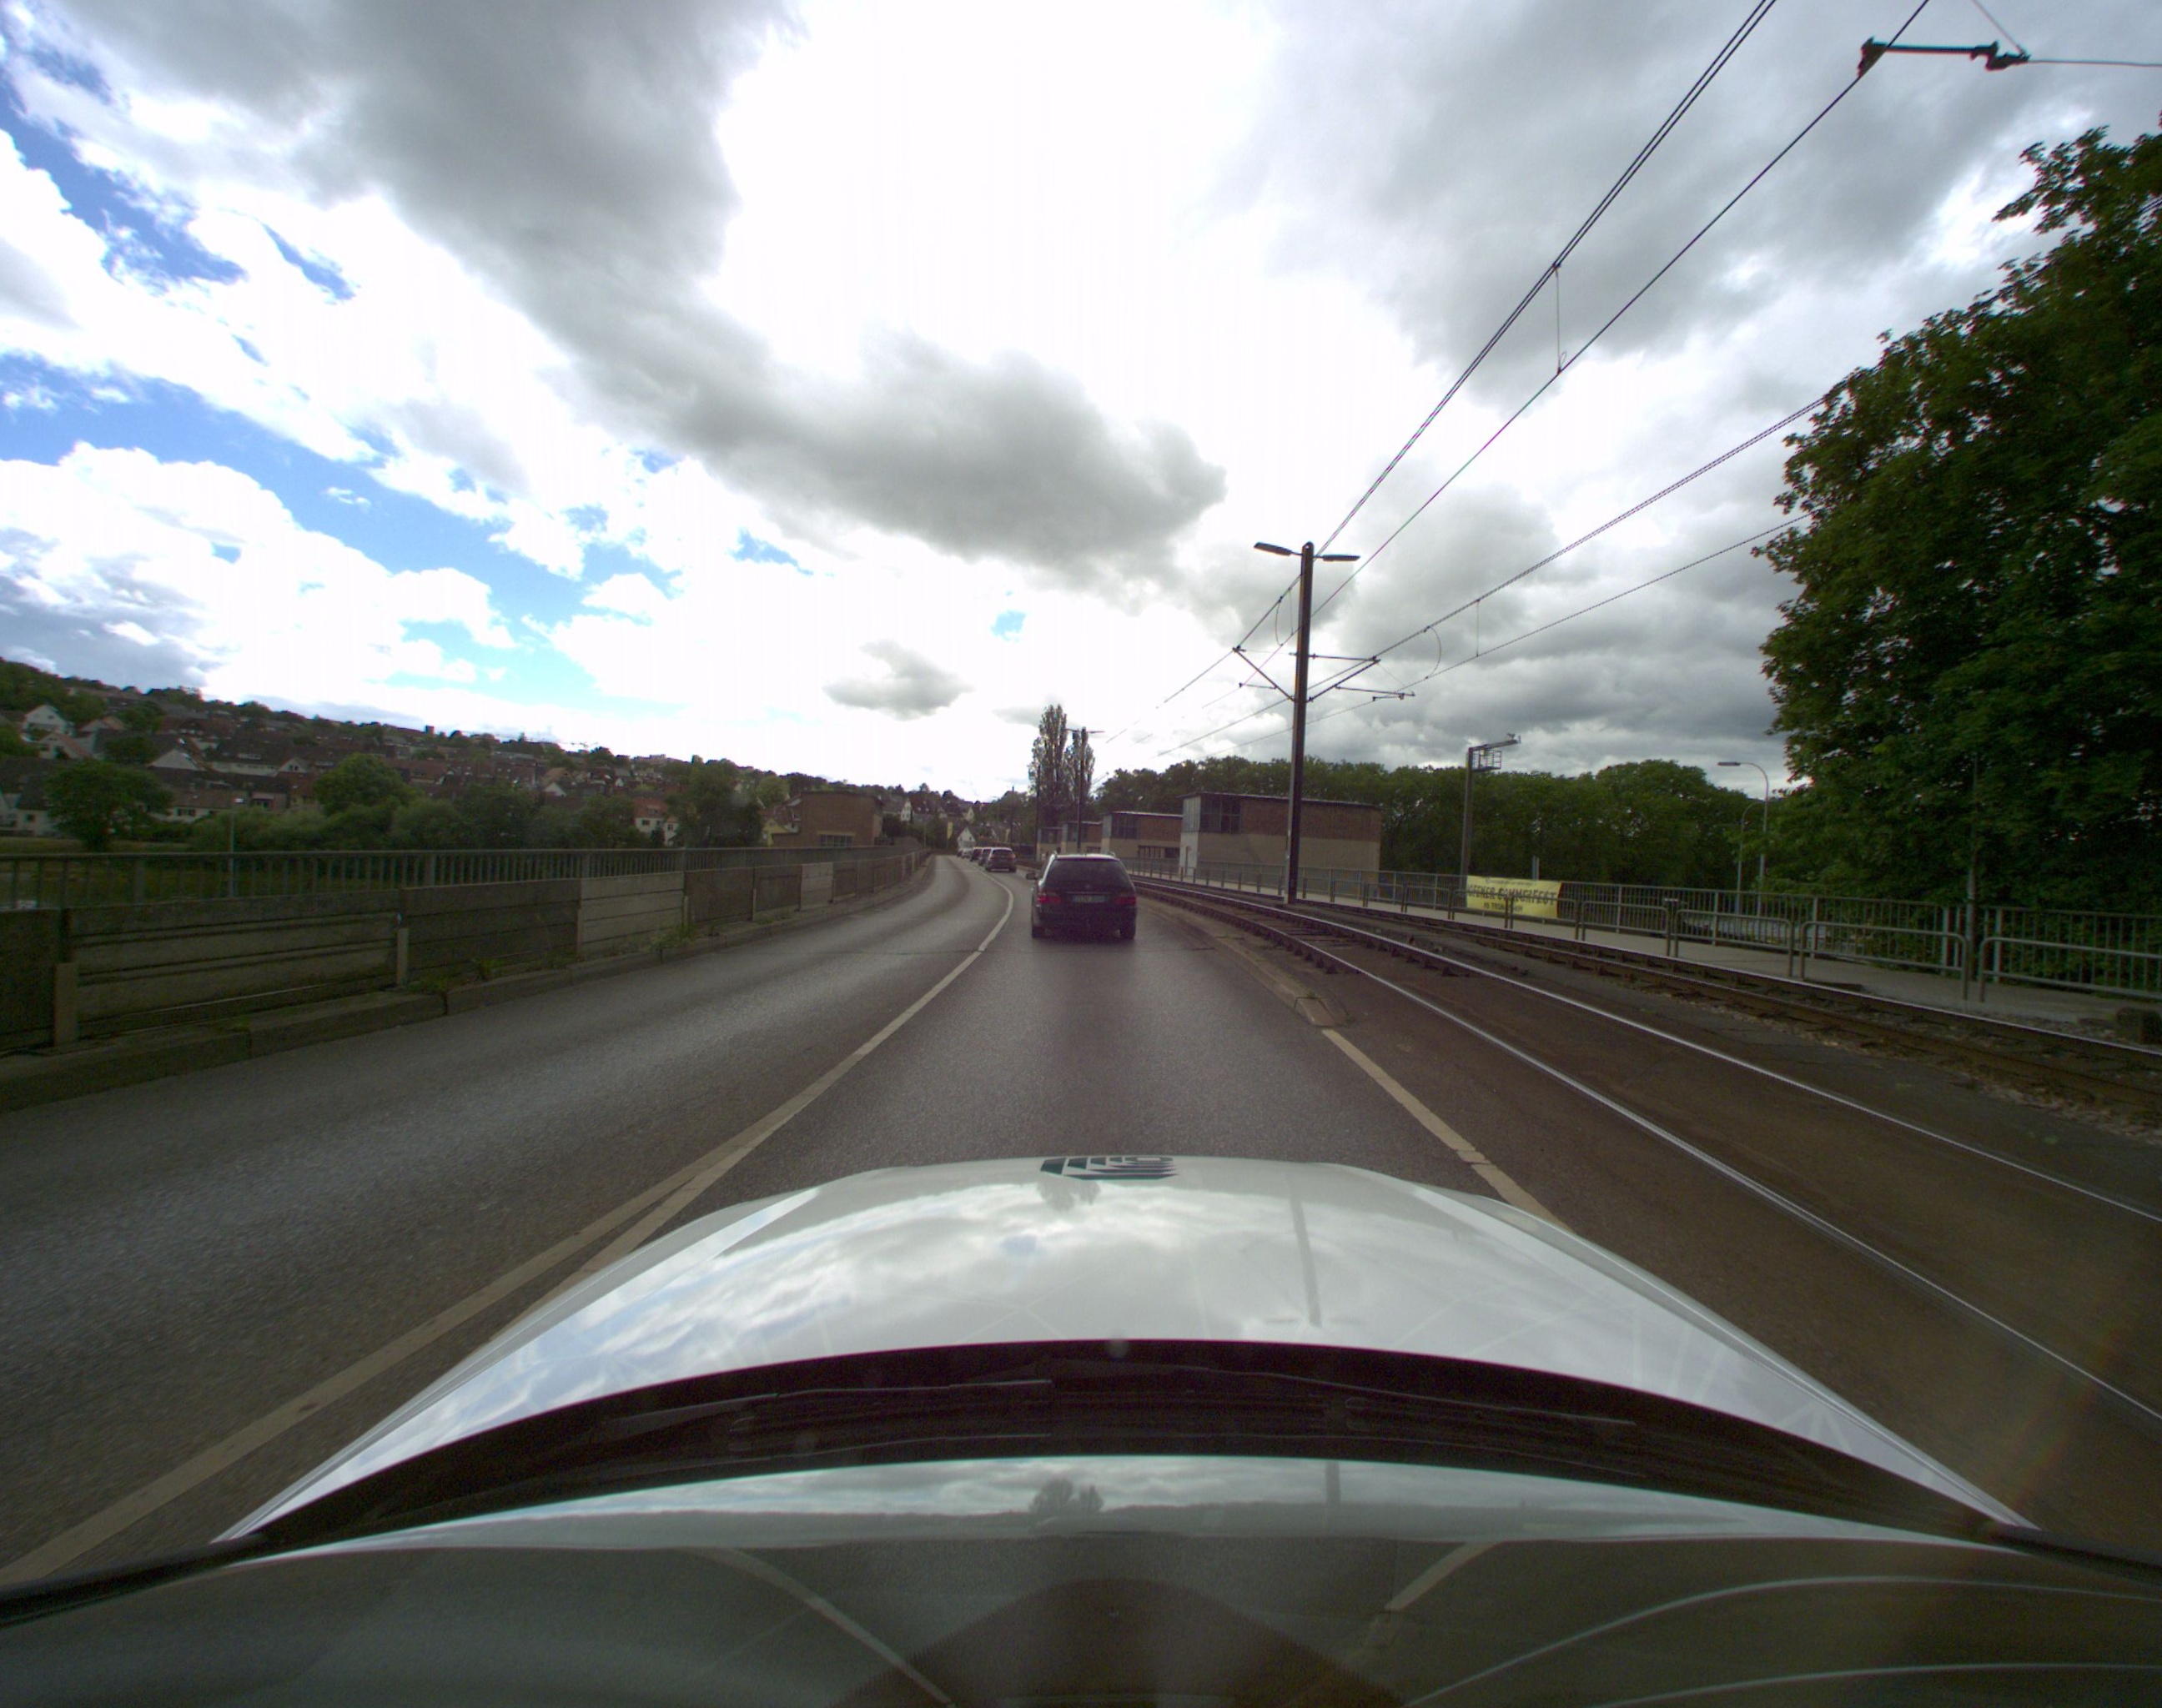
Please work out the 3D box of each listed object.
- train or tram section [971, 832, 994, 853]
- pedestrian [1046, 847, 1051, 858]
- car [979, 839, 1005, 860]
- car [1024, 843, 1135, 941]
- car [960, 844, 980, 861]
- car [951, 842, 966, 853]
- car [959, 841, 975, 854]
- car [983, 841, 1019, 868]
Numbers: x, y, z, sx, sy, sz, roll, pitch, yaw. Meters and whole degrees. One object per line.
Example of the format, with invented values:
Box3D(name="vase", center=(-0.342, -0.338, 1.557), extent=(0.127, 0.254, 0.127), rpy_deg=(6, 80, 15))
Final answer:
Box3D(name="train or tram section", center=(-17.912, -2.073, 147.379), extent=(2.883, 3.509, 18.600), rpy_deg=(1, 0, -10))
Box3D(name="pedestrian", center=(-4.866, -0.238, 122.492), extent=(0.577, 1.610, 0.611), rpy_deg=(2, -1, -10))
Box3D(name="car", center=(-7.331, -0.406, 66.480), extent=(1.992, 1.564, 4.985), rpy_deg=(0, 2, -7))
Box3D(name="car", center=(-0.047, 0.576, 15.227), extent=(1.753, 1.515, 4.441), rpy_deg=(1, 1, -1))
Box3D(name="car", center=(-11.579, -0.227, 84.791), extent=(1.994, 1.672, 4.526), rpy_deg=(0, 1, -10))
Box3D(name="car", center=(-20.396, -1.069, 135.570), extent=(1.995, 1.570, 4.885), rpy_deg=(3, 0, -12))
Box3D(name="car", center=(-15.416, -0.902, 110.333), extent=(1.992, 1.570, 4.893), rpy_deg=(3, 0, -8))
Box3D(name="car", center=(-5.067, -0.001, 51.280), extent=(1.772, 1.555, 4.223), rpy_deg=(2, 0, -12))
